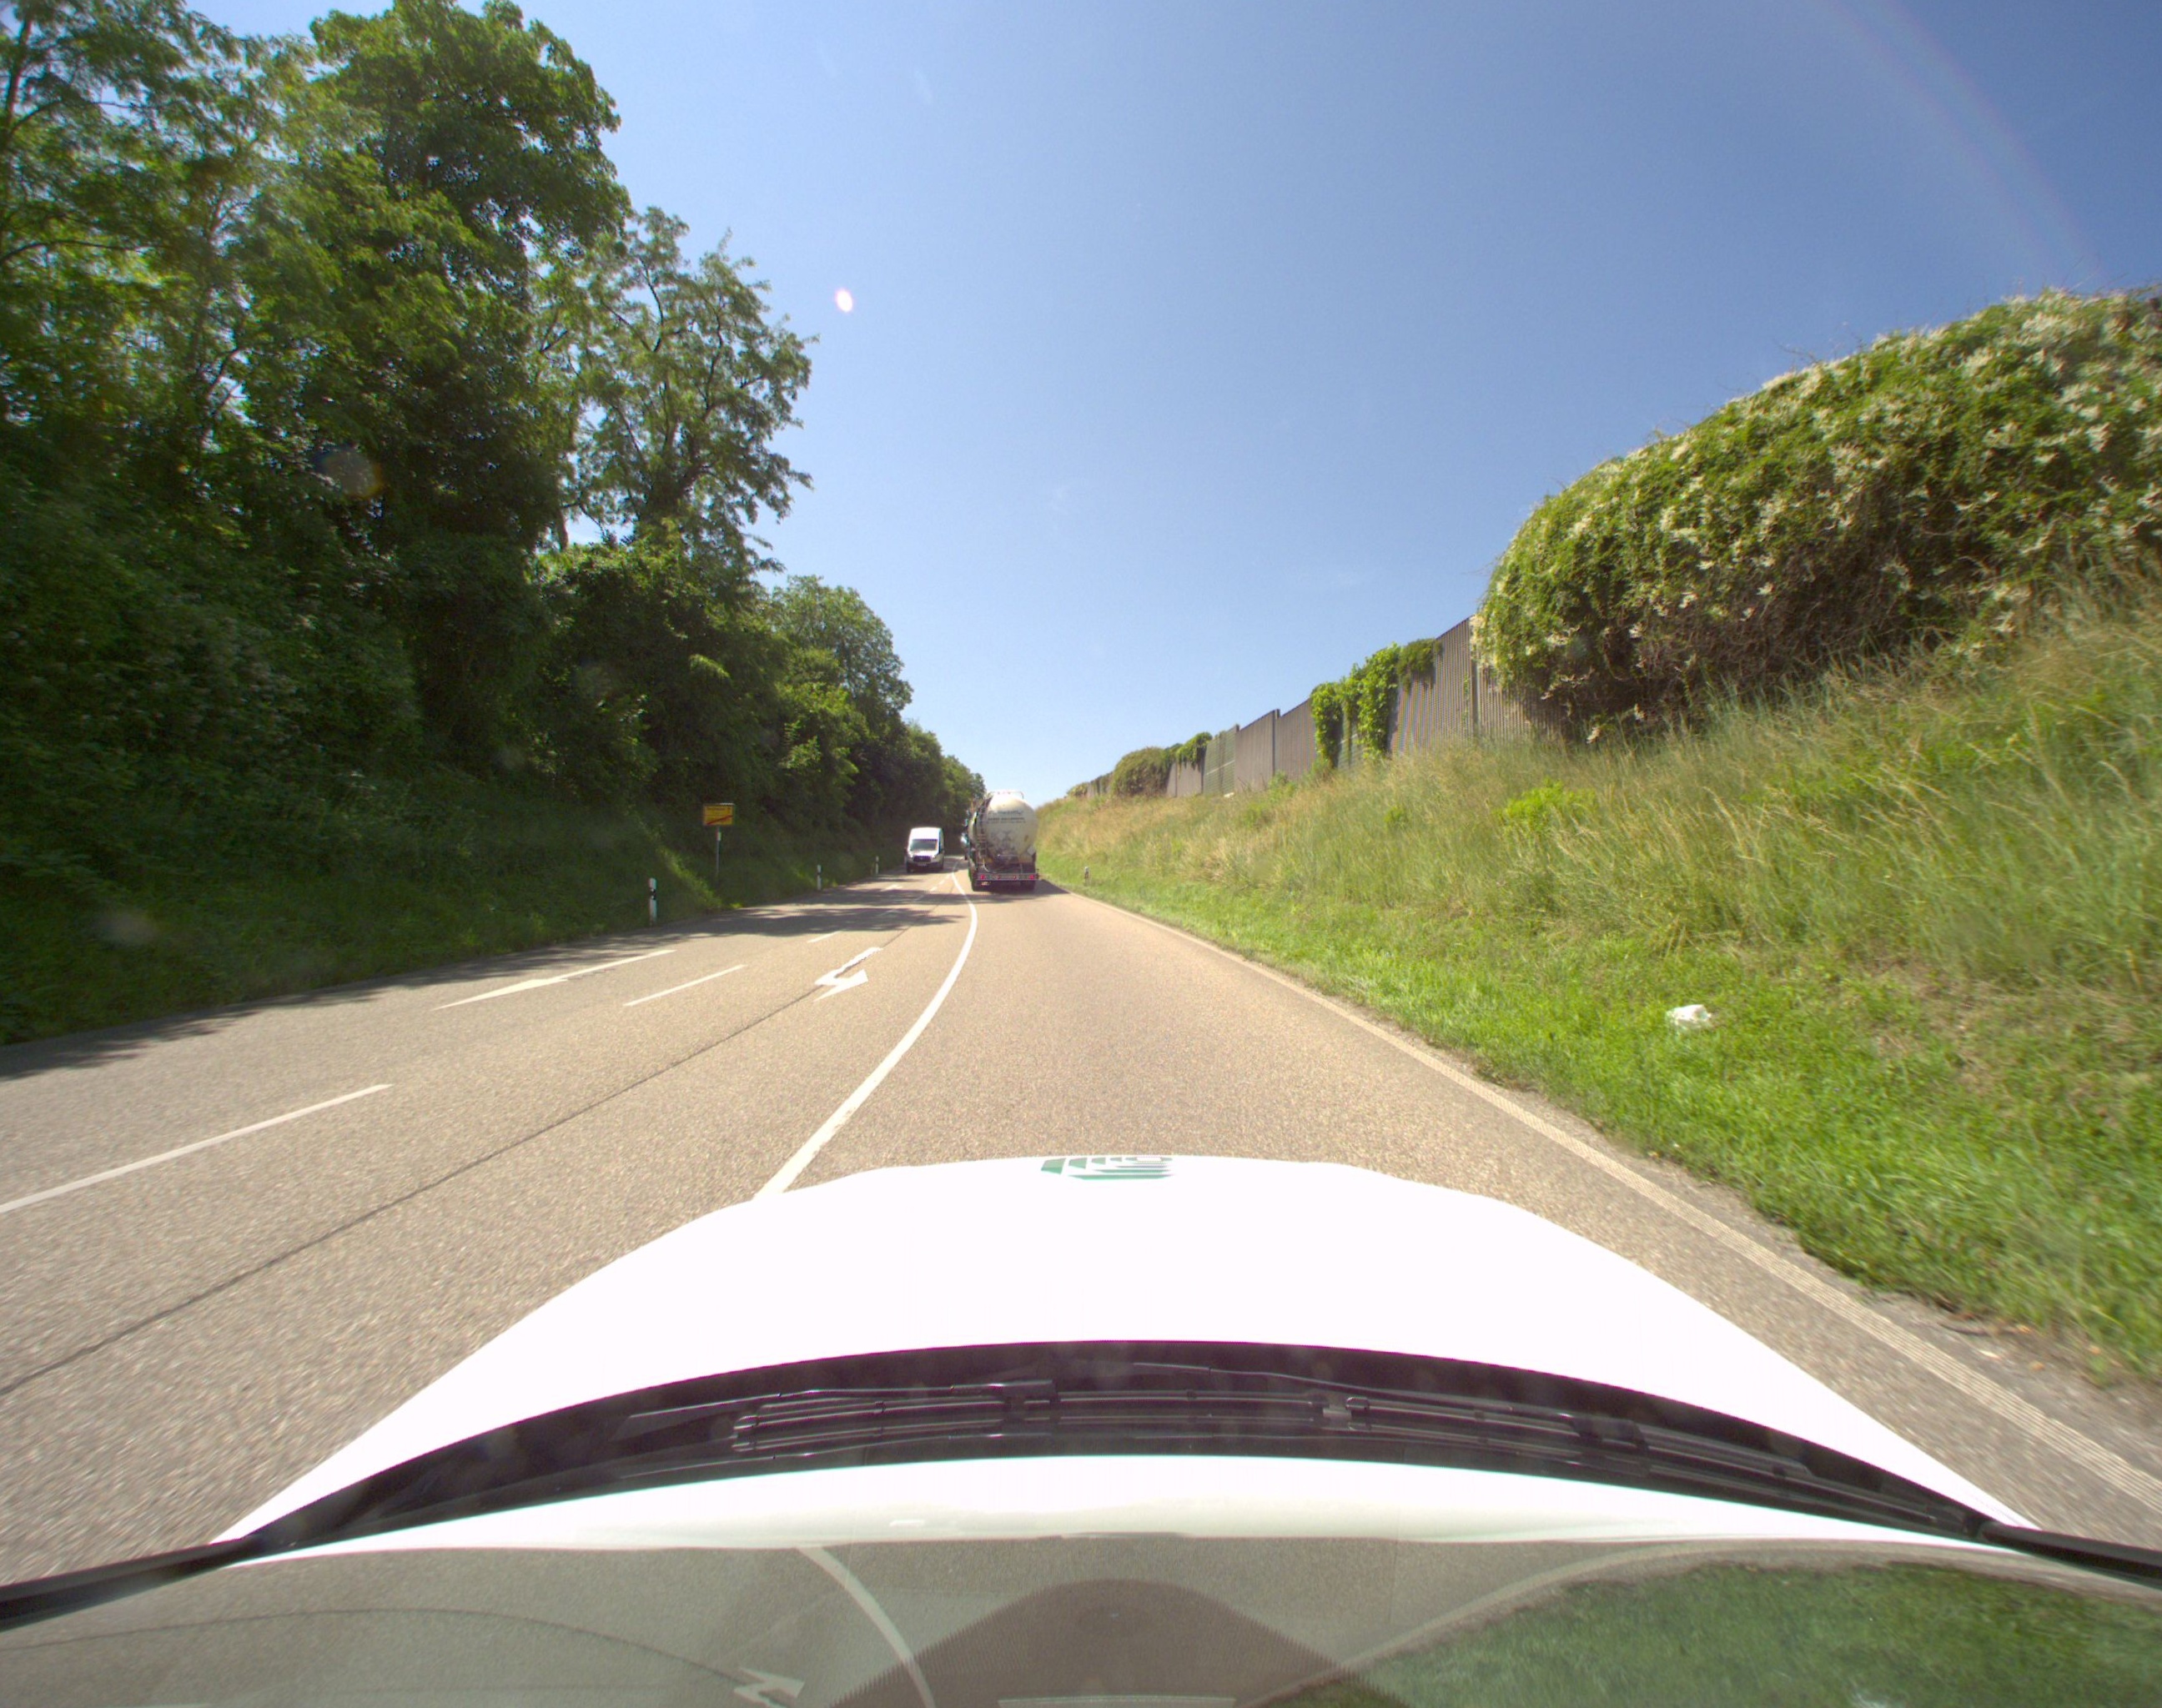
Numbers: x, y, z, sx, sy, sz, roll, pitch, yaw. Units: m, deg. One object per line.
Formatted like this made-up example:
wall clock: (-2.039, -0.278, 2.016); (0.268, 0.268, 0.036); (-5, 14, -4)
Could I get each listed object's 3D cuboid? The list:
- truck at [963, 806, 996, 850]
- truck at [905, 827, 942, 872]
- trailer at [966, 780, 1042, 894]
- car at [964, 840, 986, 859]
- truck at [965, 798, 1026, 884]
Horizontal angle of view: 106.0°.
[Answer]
truck: (-10.772, -2.750, 86.738); (3.187, 4.309, 11.773); (2, 1, -7)
truck: (-9.891, -0.346, 51.507); (2.052, 2.686, 5.963); (1, 1, -9)
trailer: (-3.667, -0.732, 36.044); (2.660, 4.188, 11.870); (-1, 1, -8)
car: (-9.076, -0.418, 69.487); (1.648, 1.509, 3.627); (1, 2, -10)
truck: (-4.448, -0.647, 41.292); (2.726, 3.929, 7.242); (0, 1, -9)
